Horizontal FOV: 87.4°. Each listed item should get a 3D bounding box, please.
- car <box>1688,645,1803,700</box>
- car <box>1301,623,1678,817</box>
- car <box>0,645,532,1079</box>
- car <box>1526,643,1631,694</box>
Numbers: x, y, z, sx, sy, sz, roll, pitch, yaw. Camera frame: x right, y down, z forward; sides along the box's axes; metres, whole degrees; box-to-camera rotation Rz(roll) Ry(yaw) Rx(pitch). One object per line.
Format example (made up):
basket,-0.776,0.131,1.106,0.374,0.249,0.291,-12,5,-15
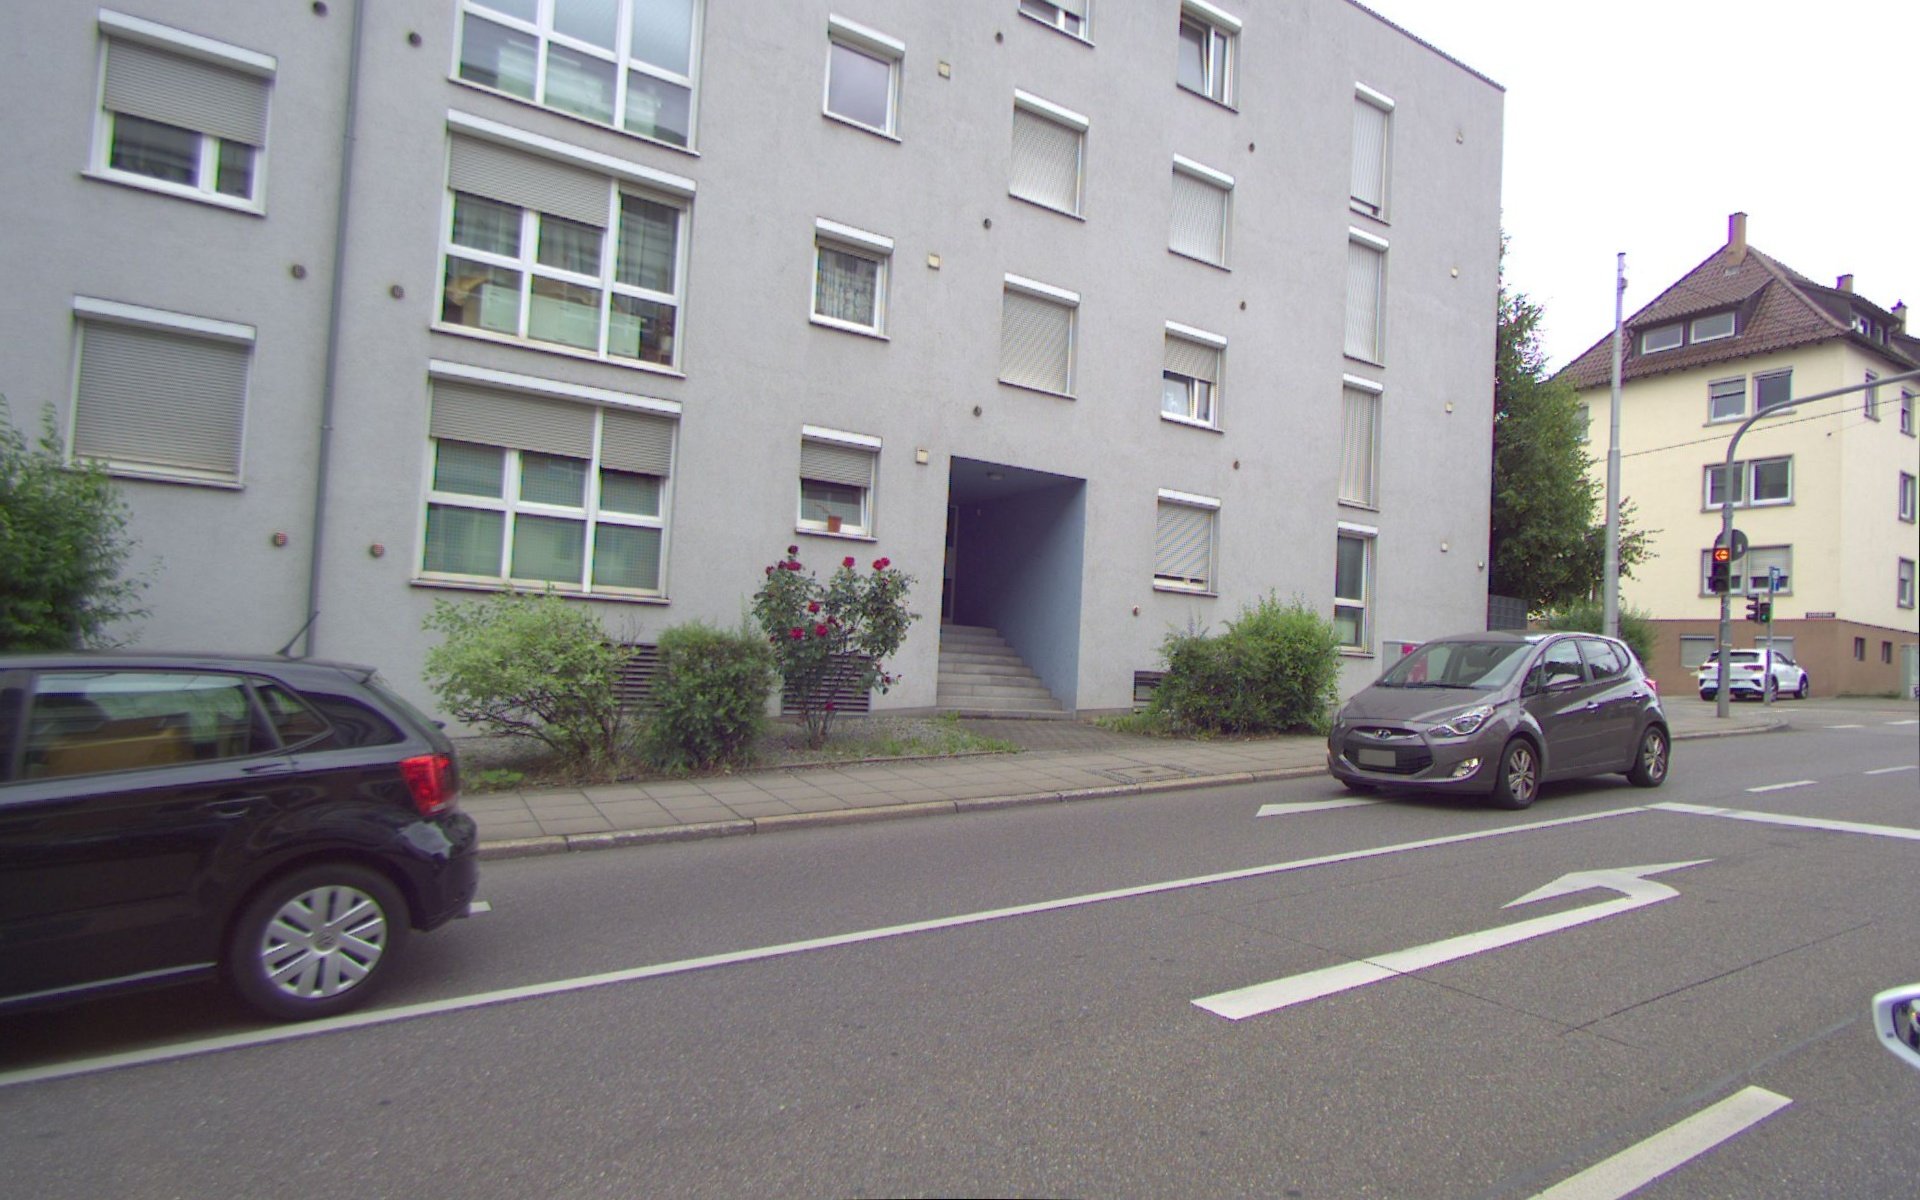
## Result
car,23.947,2.177,30.597,3.727,1.575,1.681,1,-4,-34
car,5.425,1.086,10.179,3.894,1.607,1.694,1,-4,-33
car,-3.832,0.908,3.885,3.757,1.418,1.663,2,-4,-35
car,21.455,2.348,34.831,3.727,1.629,1.681,1,-4,-34
